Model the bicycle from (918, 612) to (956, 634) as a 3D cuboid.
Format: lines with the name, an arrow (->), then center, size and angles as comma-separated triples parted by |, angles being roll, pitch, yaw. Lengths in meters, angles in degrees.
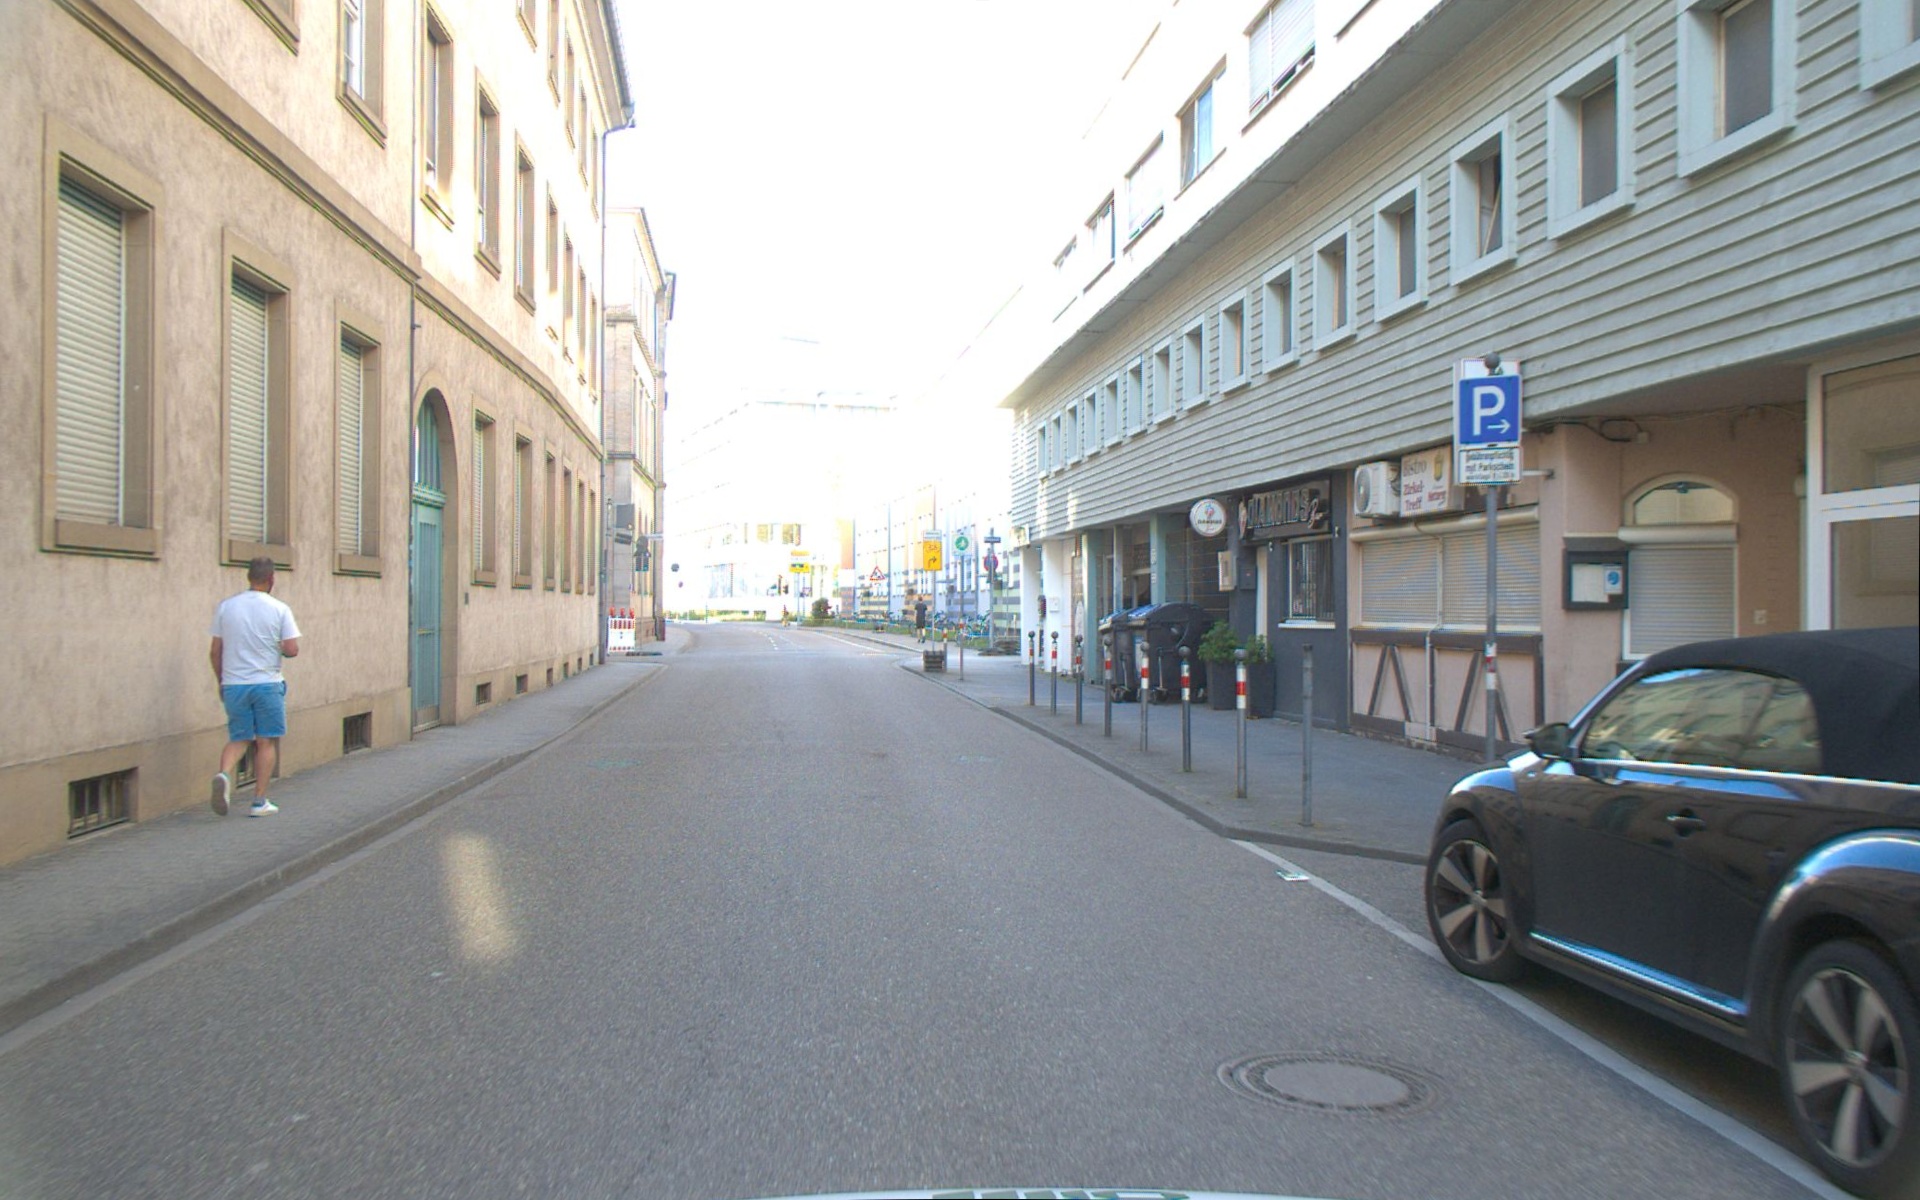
bicycle -> -1.070, 1.050, 75.953 | 1.715, 0.963, 0.325 | -1, -1, -8

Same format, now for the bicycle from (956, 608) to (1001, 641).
bicycle -> 0.693, 0.917, 61.802 | 1.615, 1.161, 0.282 | -3, 1, -17

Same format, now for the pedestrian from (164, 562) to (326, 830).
pedestrian -> -4.762, 0.622, 11.066 | 0.679, 1.699, 0.874 | 2, -1, -4

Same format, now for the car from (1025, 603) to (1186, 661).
car -> 3.874, 0.837, 44.412 | 4.002, 1.508, 1.862 | 0, -1, -9

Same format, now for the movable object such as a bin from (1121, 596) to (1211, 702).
movable object such as a bin -> 3.044, 0.732, 24.605 | 0.962, 1.506, 1.549 | -1, -2, -6

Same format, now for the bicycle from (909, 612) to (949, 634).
bicycle -> -1.394, 1.034, 74.124 | 1.716, 0.963, 0.551 | -1, -1, -9

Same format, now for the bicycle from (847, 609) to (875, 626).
bicycle -> -6.259, 1.106, 104.584 | 1.724, 1.021, 0.611 | -1, -1, -14

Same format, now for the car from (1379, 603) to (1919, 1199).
car -> 3.113, 0.788, 5.707 | 1.847, 1.515, 4.362 | 1, 0, -6

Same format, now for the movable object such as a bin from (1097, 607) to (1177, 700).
movable object such as a bin -> 2.772, 0.844, 26.105 | 0.962, 1.409, 1.318 | -1, -2, -6

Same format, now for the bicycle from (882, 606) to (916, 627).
bicycle -> -3.354, 0.897, 90.662 | 1.777, 1.157, 0.550 | 0, -1, -11

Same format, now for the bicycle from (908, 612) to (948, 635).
bicycle -> -1.453, 1.062, 74.817 | 1.716, 0.963, 0.551 | -1, -1, -9

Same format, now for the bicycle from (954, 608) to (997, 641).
bicycle -> 0.592, 0.921, 62.059 | 1.577, 1.161, 0.236 | -3, 1, -17

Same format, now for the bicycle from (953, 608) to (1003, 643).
bicycle -> 0.664, 0.925, 60.372 | 1.716, 1.161, 0.551 | -3, 1, -9

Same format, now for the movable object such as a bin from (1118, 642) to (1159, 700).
movable object such as a bin -> 2.926, 1.164, 27.136 | 0.546, 0.915, 0.522 | -1, -2, -6

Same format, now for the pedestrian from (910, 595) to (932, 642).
pedestrian -> -1.527, 0.725, 64.734 | 0.684, 1.790, 1.186 | -2, 0, -8
